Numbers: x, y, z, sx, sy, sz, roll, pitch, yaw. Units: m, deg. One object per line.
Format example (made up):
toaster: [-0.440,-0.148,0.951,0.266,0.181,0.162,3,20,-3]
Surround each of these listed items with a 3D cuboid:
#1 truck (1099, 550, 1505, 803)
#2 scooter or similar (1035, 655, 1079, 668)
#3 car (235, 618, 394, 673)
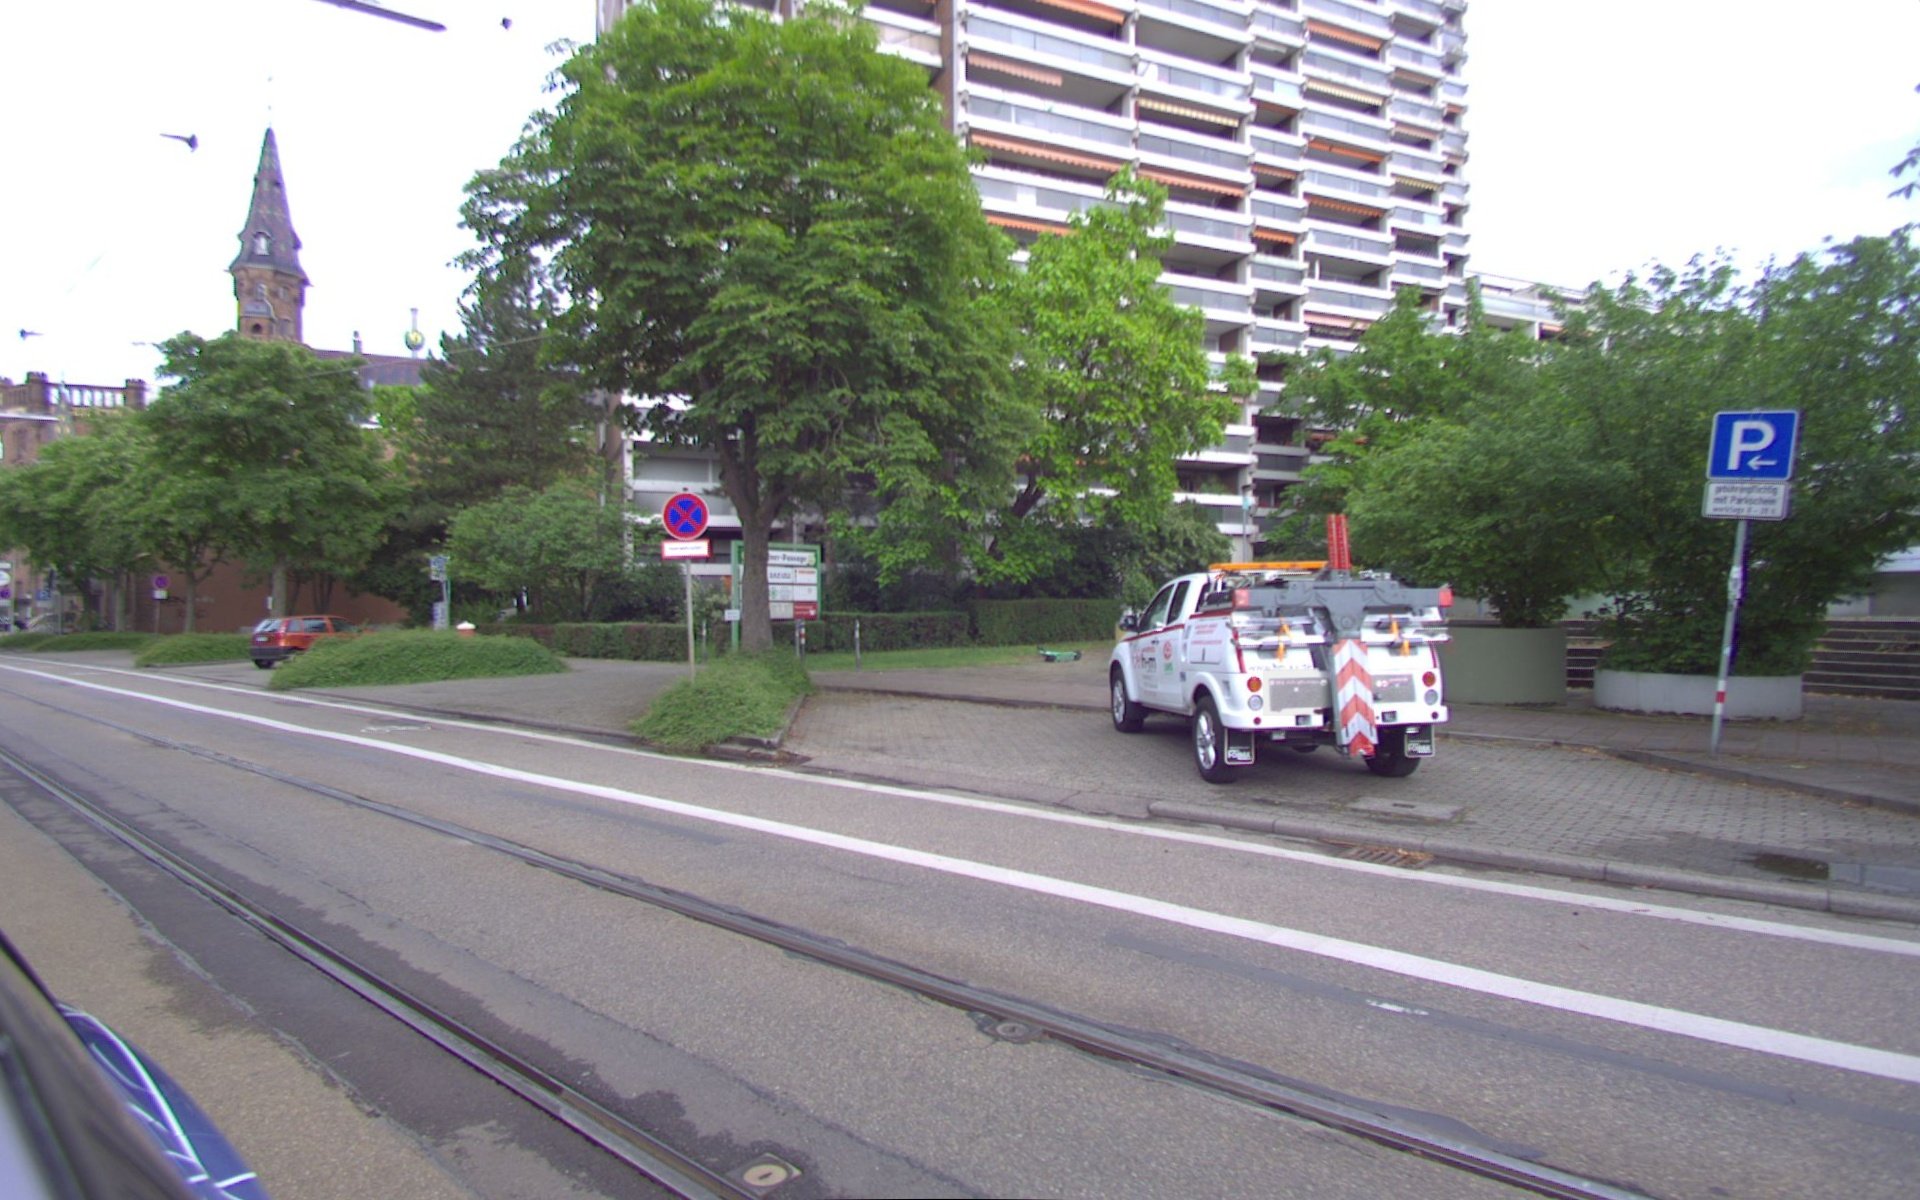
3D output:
truck: [2.926,0.586,10.139,1.970,1.862,5.069,-1,0,-4]
scooter or similar: [2.289,1.439,23.783,1.203,0.173,0.297,-3,3,-43]
car: [-18.192,1.232,28.674,1.626,1.387,3.472,0,0,26]
